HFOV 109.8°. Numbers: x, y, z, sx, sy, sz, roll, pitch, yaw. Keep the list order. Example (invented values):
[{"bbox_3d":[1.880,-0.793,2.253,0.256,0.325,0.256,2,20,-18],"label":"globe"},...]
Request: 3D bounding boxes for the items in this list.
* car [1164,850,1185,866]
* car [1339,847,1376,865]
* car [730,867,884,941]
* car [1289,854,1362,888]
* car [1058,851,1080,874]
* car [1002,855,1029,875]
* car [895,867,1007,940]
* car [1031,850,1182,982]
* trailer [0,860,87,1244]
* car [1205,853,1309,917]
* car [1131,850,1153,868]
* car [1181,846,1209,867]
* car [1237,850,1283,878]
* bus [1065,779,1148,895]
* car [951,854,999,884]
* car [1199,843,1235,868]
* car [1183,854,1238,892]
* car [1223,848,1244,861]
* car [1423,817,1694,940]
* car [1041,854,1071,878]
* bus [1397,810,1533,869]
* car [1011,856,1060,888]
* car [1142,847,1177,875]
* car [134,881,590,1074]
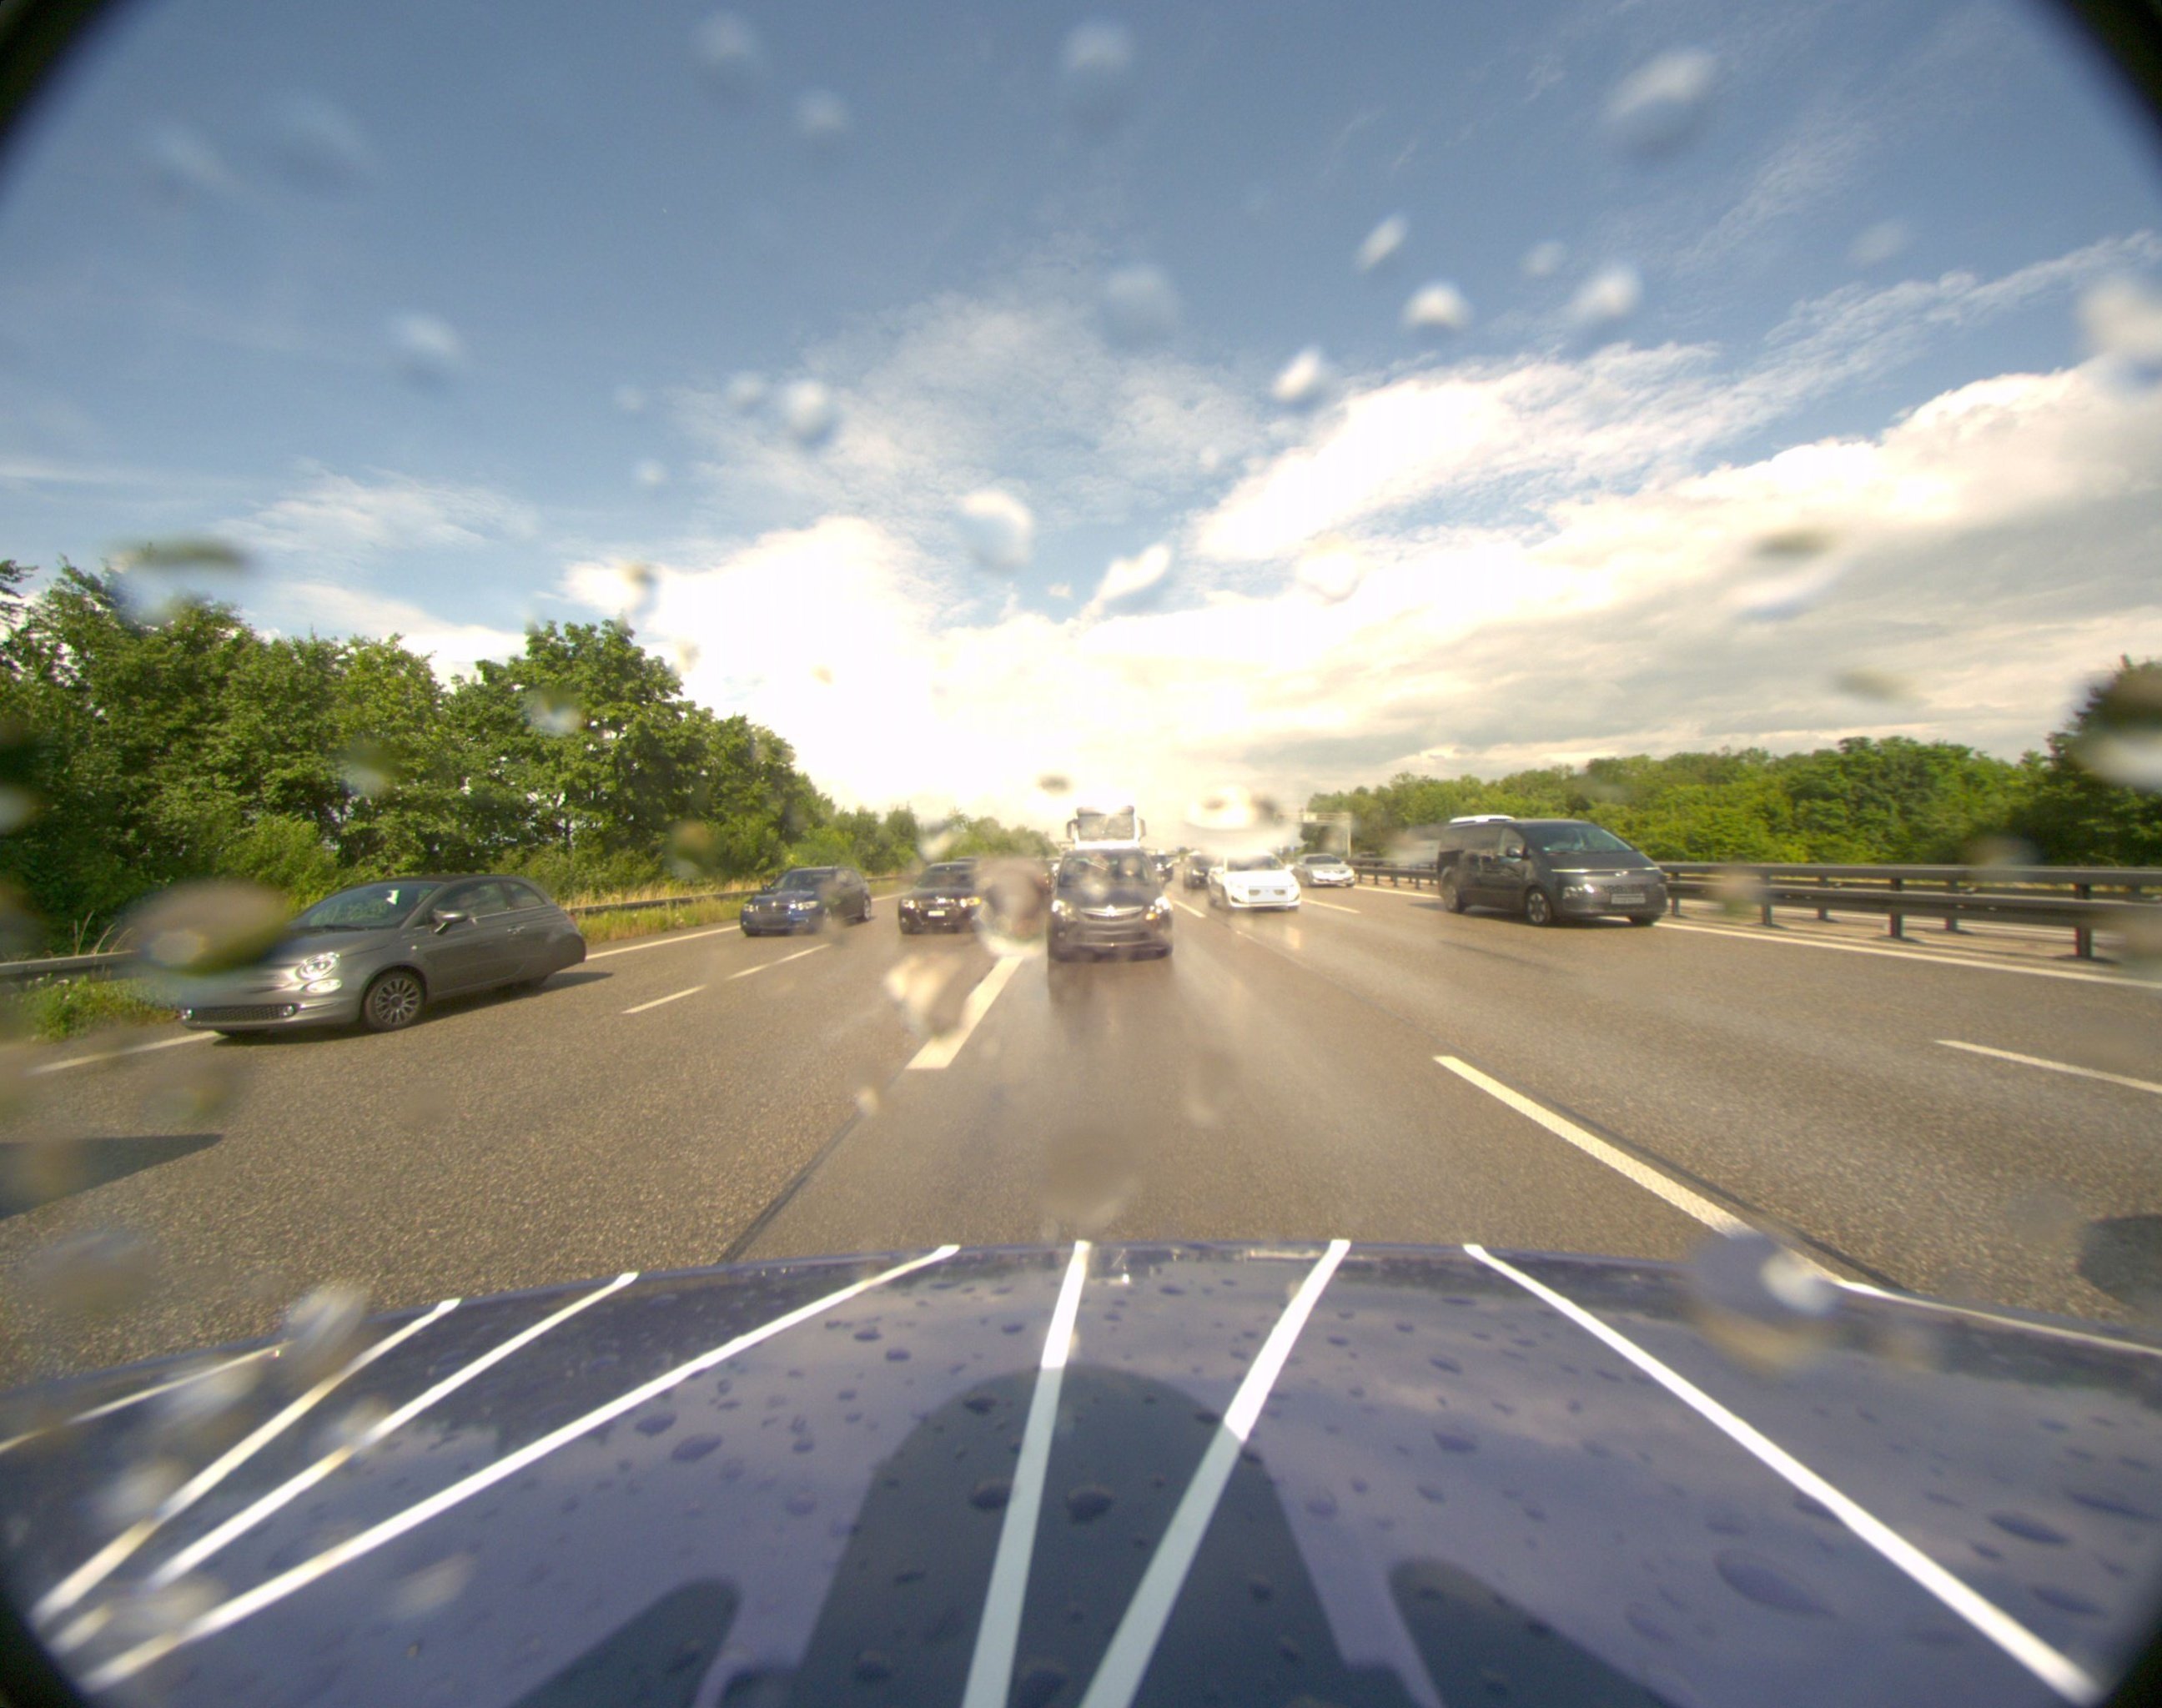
[{"bbox_3d":[11.180,0.445,91.096,1.900,1.740,4.000,-2,0,0],"label":"car"},{"bbox_3d":[20.575,0.139,56.642,1.654,1.302,3.523,-2,0,3],"label":"car"},{"bbox_3d":[-6.133,1.059,17.649,1.771,1.343,4.580,-2,0,2],"label":"car"},{"bbox_3d":[9.495,0.628,29.826,1.856,1.182,3.583,-2,0,3],"label":"car"},{"bbox_3d":[-0.972,0.667,62.268,1.713,1.792,3.539,-2,1,0],"label":"car"},{"bbox_3d":[-5.572,0.921,64.737,1.868,1.565,4.000,-2,0,0],"label":"car"},{"bbox_3d":[-2.793,1.023,17.159,1.722,1.346,3.884,-2,0,2],"label":"car"},{"bbox_3d":[0.355,0.777,11.966,1.858,1.622,4.735,-2,0,1],"label":"car"},{"bbox_3d":[-5.764,0.945,1.715,1.811,1.736,3.966,-3,0,-3],"label":"trailer"},{"bbox_3d":[4.360,0.705,19.430,1.809,1.389,4.240,-1,0,2],"label":"car"},{"bbox_3d":[6.297,0.519,78.949,1.900,1.740,4.000,-2,0,0],"label":"car"},{"bbox_3d":[10.260,0.195,68.365,1.900,1.740,4.000,-2,0,0],"label":"car"},{"bbox_3d":[9.575,0.504,40.974,1.618,1.412,4.000,-2,0,2],"label":"car"},{"bbox_3d":[1.077,-0.633,32.684,2.904,4.104,9.845,-2,0,2],"label":"bus"},{"bbox_3d":[-5.696,0.780,41.332,1.998,1.481,4.249,-2,0,0],"label":"car"},{"bbox_3d":[10.134,0.122,56.859,1.900,1.740,4.000,-2,0,0],"label":"car"},{"bbox_3d":[5.192,0.731,30.836,1.597,1.390,4.000,-2,0,1],"label":"car"},{"bbox_3d":[19.034,0.059,94.813,1.804,1.535,4.000,-2,0,1],"label":"car"},{"bbox_3d":[8.782,0.378,14.711,1.998,1.906,5.236,-2,0,1],"label":"car"},{"bbox_3d":[-1.639,0.772,51.102,1.858,1.434,4.000,-2,0,0],"label":"car"},{"bbox_3d":[25.026,-0.880,50.658,2.898,3.354,12.470,-2,0,1],"label":"bus"},{"bbox_3d":[-2.116,0.820,36.203,1.743,1.357,4.001,-2,0,5],"label":"car"},{"bbox_3d":[5.160,0.435,50.547,1.889,1.707,4.000,-2,0,0],"label":"car"},{"bbox_3d":[-7.338,1.133,8.314,1.616,1.480,3.481,-2,0,0],"label":"car"}]
